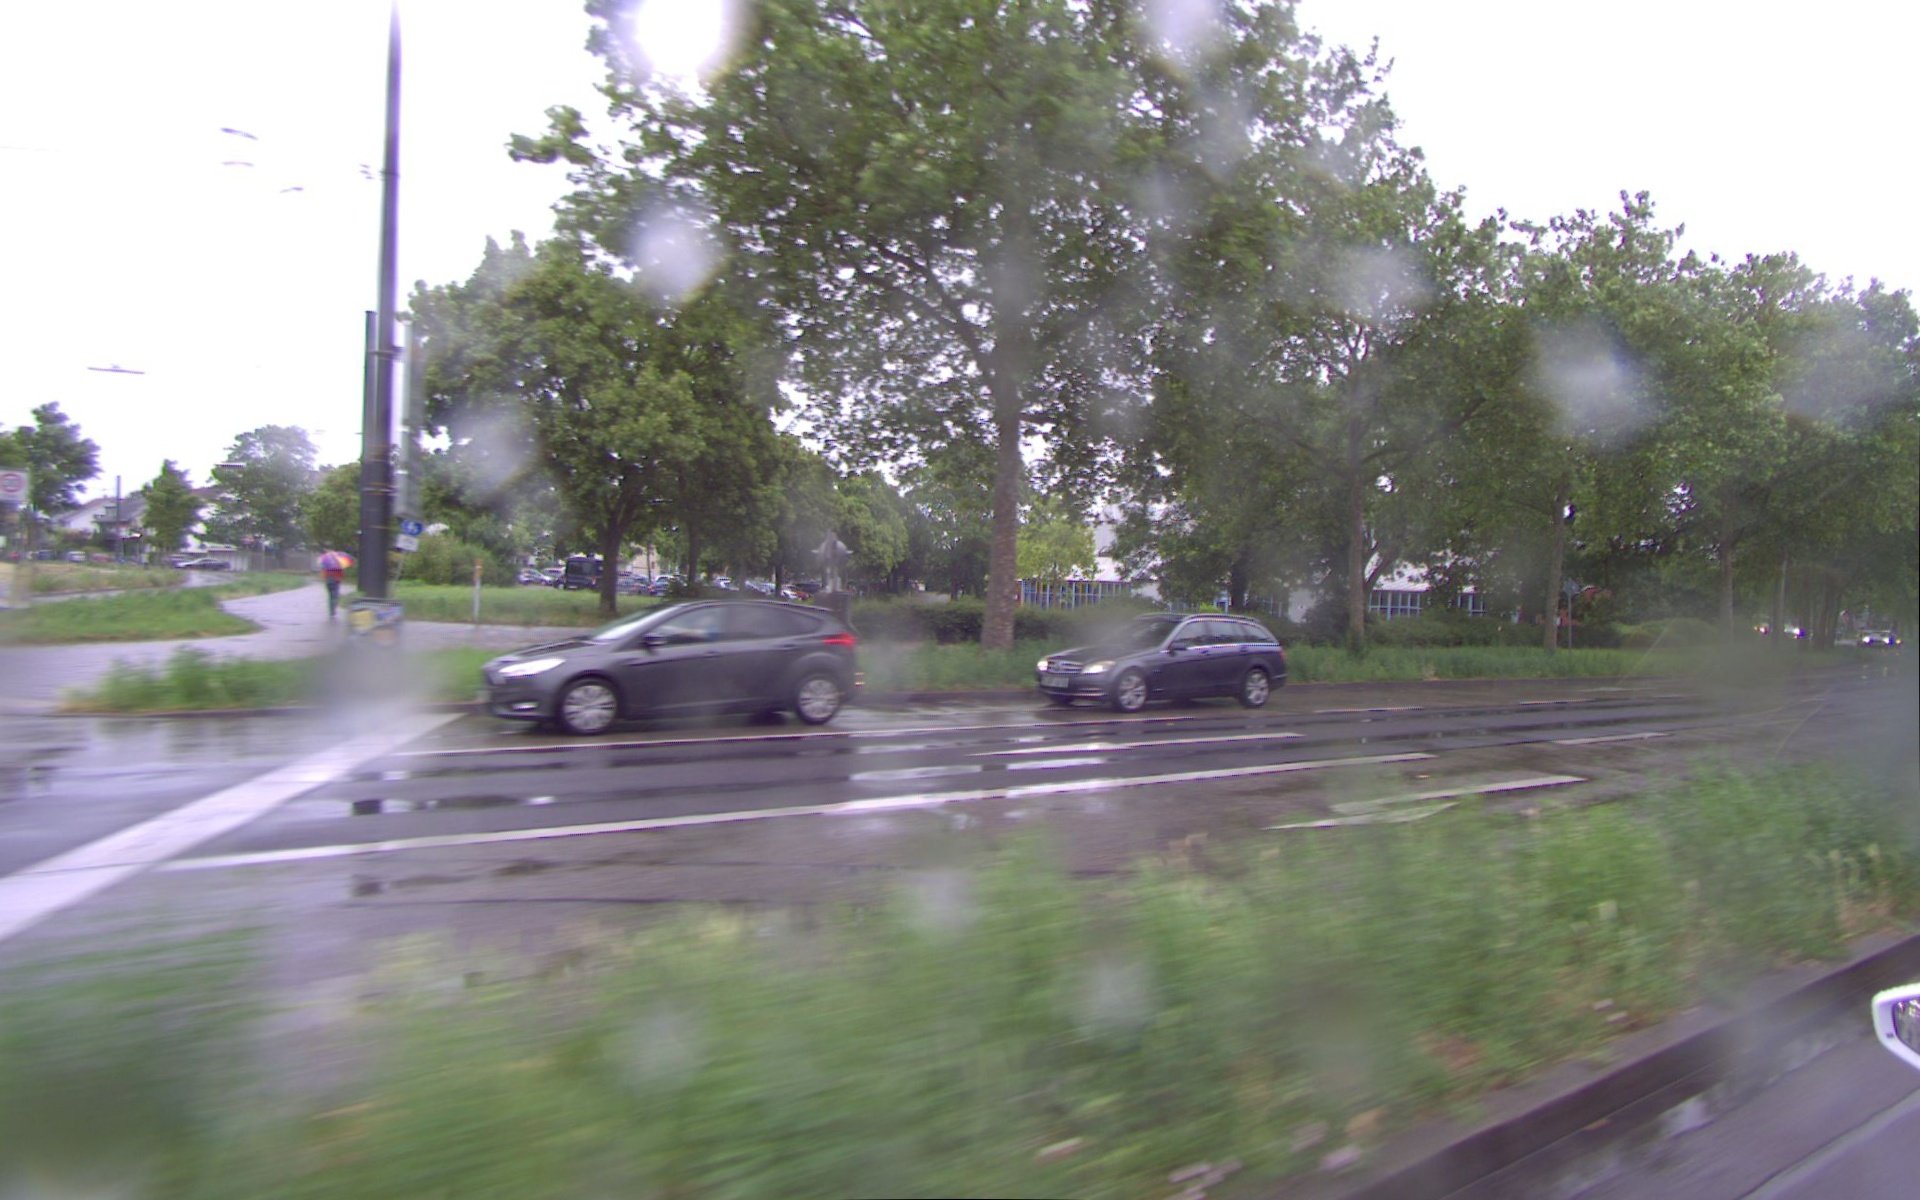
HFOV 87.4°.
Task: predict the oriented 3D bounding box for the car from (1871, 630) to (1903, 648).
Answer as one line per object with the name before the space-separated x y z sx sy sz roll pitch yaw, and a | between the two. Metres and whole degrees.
car | 101.802 4.239 110.330 1.967 1.740 3.986 2 2 35

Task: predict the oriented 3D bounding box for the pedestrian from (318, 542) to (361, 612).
pedestrian | -18.221 -0.666 29.524 0.941 2.017 1.001 1 2 -25

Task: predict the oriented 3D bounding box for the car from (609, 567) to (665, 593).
car | -20.676 -1.291 64.478 1.721 1.551 4.850 1 1 3

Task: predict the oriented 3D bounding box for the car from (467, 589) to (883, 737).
car | -3.180 0.690 11.646 4.274 1.420 1.786 3 -1 -37

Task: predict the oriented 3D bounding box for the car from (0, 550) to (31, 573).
car | -61.837 -2.486 63.696 4.000 1.439 1.661 0 2 -32

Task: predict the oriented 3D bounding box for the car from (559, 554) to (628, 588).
car | -23.188 -1.810 63.820 2.266 2.041 5.118 1 1 3

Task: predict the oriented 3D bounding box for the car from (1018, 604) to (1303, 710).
car | 3.260 0.925 16.002 4.413 1.425 1.788 4 0 -33

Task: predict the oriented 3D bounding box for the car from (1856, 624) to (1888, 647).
car | 90.522 3.495 99.704 1.956 2.041 3.983 2 2 38

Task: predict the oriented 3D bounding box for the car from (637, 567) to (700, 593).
car | -18.563 -1.280 64.237 2.020 1.594 5.018 1 1 8

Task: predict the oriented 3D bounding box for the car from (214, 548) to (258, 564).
car | -89.294 -5.398 123.950 1.861 1.826 3.987 1 1 34

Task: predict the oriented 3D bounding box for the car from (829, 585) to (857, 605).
car | -10.844 -0.492 93.415 2.144 1.721 4.086 1 1 -2

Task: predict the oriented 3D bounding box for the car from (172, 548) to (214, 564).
car | -94.908 -5.442 124.331 1.789 1.826 3.869 1 1 35
